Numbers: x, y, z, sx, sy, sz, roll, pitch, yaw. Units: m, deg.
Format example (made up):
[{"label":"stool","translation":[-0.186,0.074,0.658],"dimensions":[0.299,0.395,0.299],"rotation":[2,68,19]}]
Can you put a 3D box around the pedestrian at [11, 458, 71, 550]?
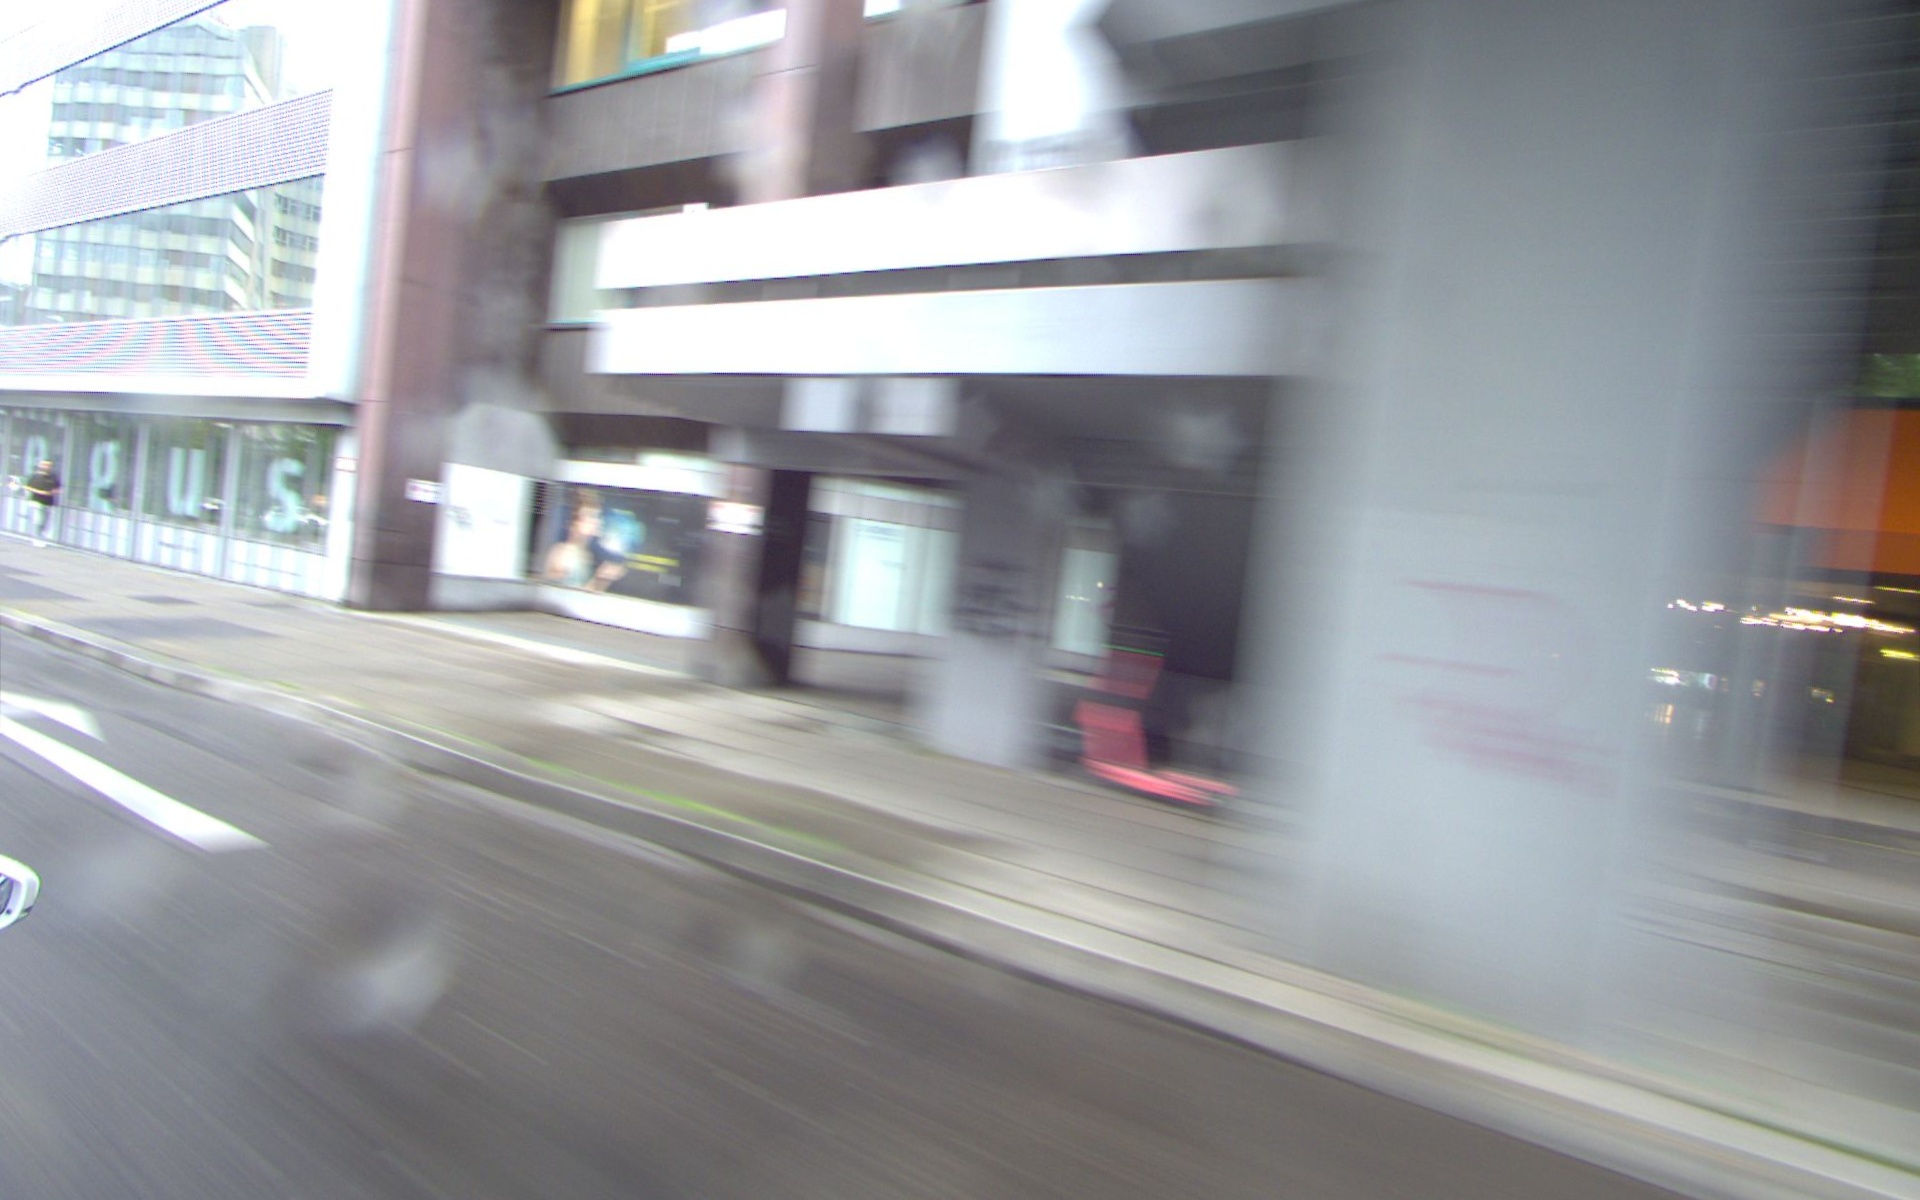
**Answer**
[{"label":"pedestrian","translation":[-18.992,-1.979,20.790],"dimensions":[0.776,1.795,0.636],"rotation":[6,1,32]}]

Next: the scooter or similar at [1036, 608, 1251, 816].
[{"label":"scooter or similar","translation":[1.307,0.770,7.294],"dimensions":[1.371,1.271,0.350],"rotation":[7,1,32]}]
